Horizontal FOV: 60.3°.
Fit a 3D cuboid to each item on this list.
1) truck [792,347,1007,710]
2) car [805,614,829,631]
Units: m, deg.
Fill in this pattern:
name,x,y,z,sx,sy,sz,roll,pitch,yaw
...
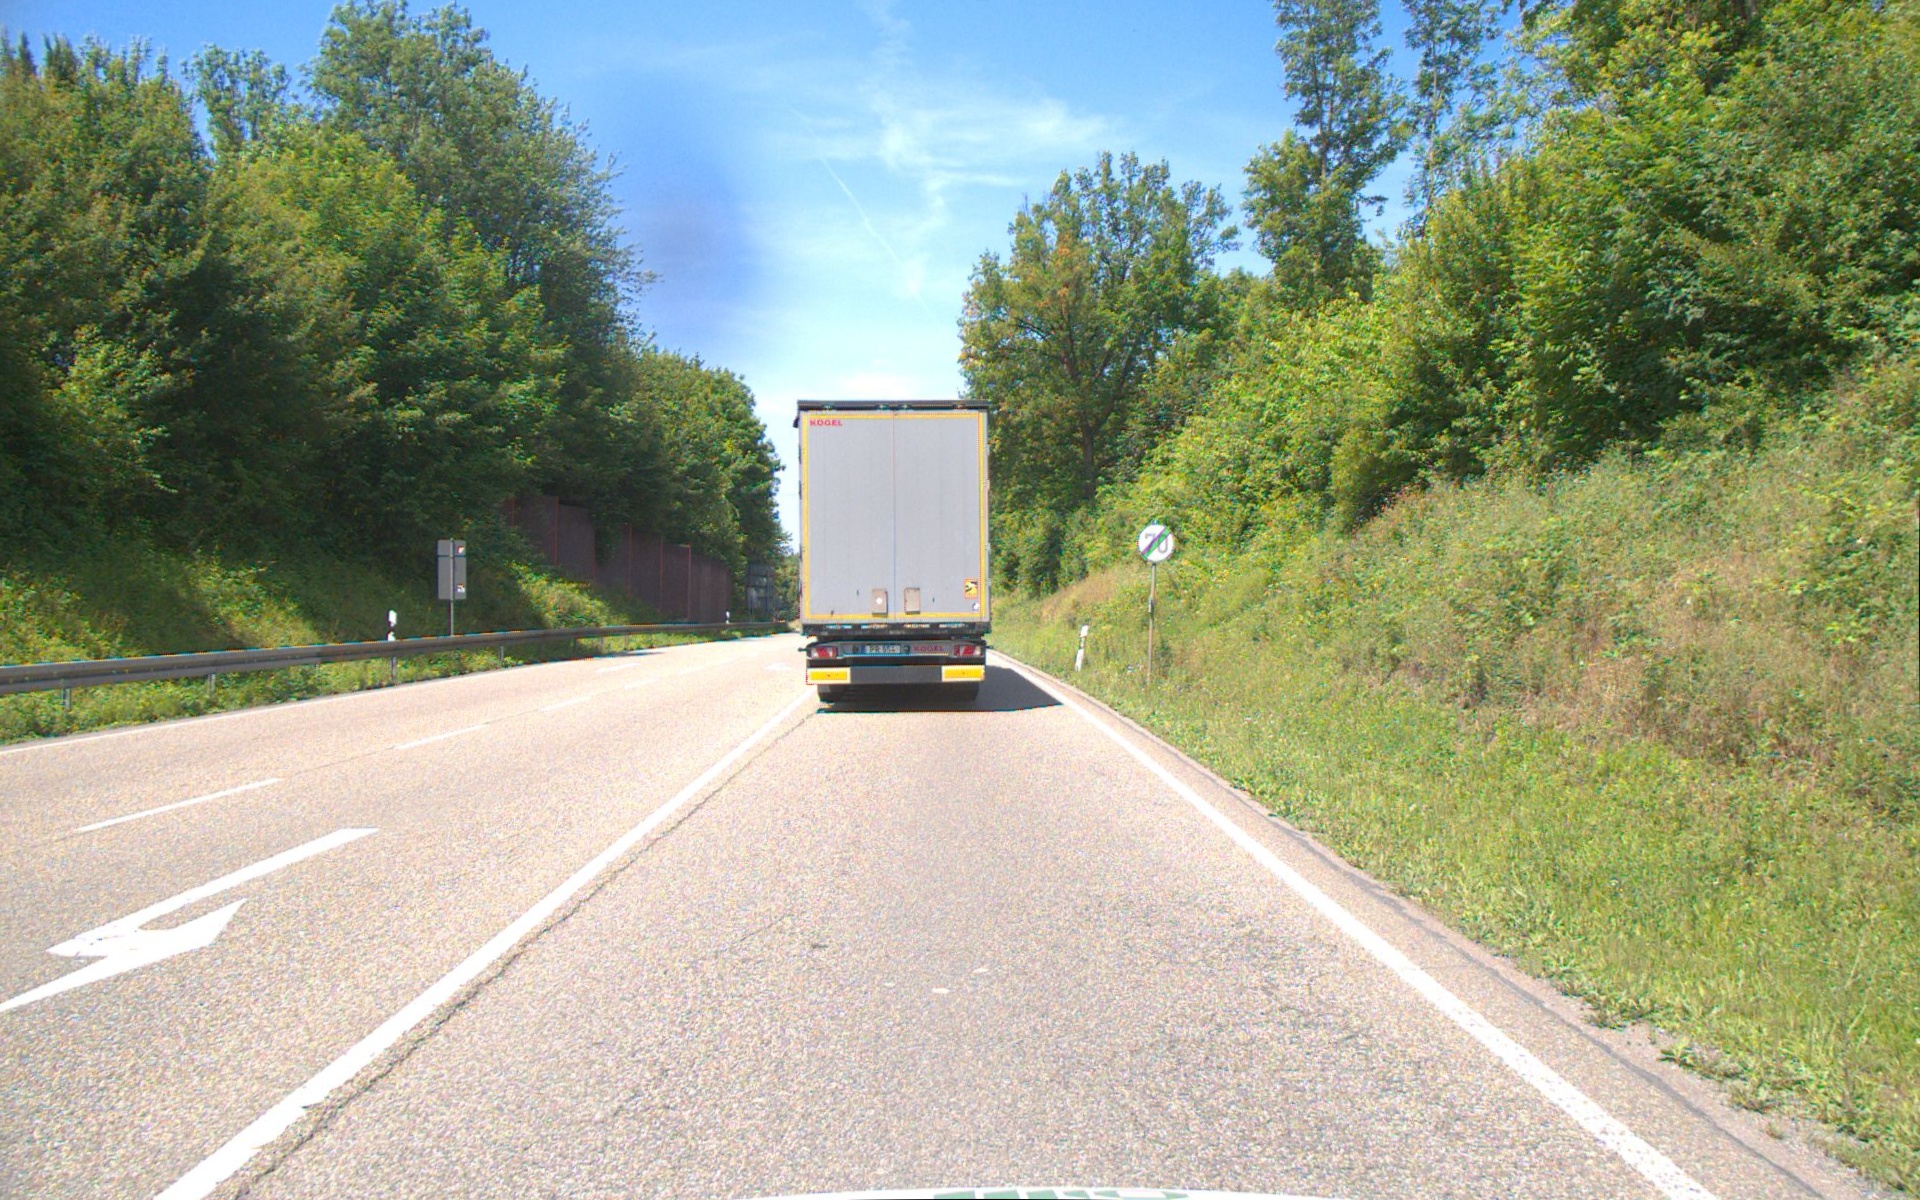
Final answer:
name,x,y,z,sx,sy,sz,roll,pitch,yaw
truck,-0.866,-0.966,24.712,2.765,4.684,6.663,0,0,-2
car,-12.491,1.968,144.244,1.773,1.460,3.863,-1,0,-9
